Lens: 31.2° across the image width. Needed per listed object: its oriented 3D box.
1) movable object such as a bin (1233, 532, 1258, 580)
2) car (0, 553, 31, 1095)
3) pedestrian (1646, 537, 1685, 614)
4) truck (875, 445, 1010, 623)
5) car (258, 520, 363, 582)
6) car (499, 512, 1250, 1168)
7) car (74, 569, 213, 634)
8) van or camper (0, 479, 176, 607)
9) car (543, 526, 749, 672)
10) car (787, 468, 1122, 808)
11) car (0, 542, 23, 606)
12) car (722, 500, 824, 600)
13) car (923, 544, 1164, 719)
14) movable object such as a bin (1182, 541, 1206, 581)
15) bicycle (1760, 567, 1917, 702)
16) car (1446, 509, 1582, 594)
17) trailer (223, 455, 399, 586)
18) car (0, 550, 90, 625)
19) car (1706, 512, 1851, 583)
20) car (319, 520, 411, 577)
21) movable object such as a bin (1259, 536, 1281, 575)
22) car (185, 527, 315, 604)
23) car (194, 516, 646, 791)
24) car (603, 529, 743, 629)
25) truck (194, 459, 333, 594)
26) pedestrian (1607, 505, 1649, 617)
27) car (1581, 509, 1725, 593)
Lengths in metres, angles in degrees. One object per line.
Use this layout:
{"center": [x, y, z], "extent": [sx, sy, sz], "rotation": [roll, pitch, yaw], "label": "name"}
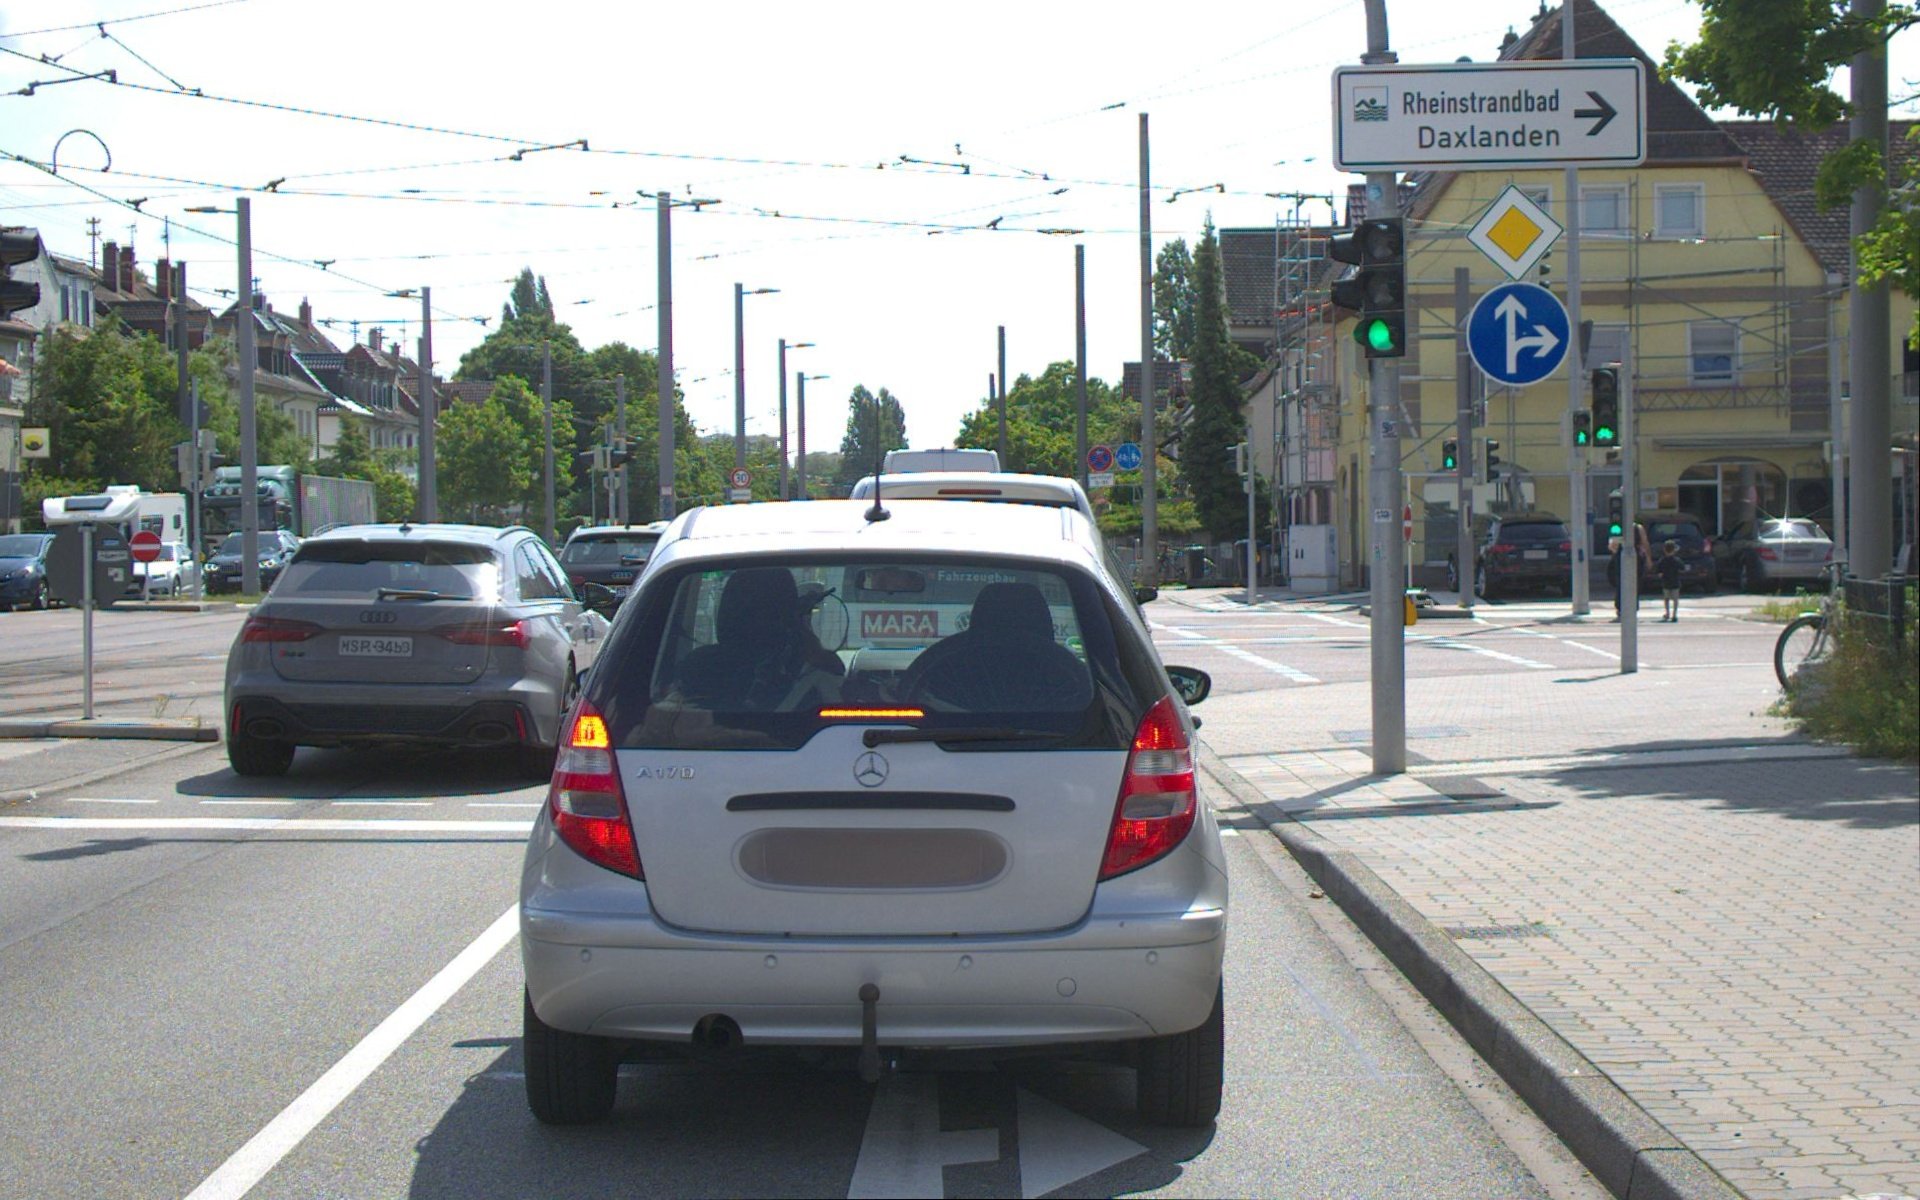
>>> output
{"center": [6.533, -1.011, 78.630], "extent": [0.511, 1.101, 0.855], "rotation": [0, 0, 0], "label": "movable object such as a bin"}
{"center": [-3.407, 0.602, 7.320], "extent": [1.731, 1.444, 4.123], "rotation": [1, 1, 0], "label": "car"}
{"center": [10.411, -0.363, 50.731], "extent": [0.488, 1.132, 0.389], "rotation": [1, 0, 4], "label": "pedestrian"}
{"center": [-0.330, -0.986, 52.553], "extent": [1.852, 2.543, 5.855], "rotation": [1, 1, -2], "label": "truck"}
{"center": [-17.902, -1.356, 94.966], "extent": [1.993, 1.547, 4.178], "rotation": [-4, 1, 0], "label": "car"}
{"center": [-0.284, 0.542, 10.034], "extent": [1.730, 1.511, 4.017], "rotation": [1, 1, -2], "label": "car"}
{"center": [-17.678, 0.012, 74.600], "extent": [1.993, 1.347, 4.178], "rotation": [1, 1, 0], "label": "car"}
{"center": [-21.177, -1.400, 83.618], "extent": [2.324, 2.919, 7.755], "rotation": [-1, 1, 0], "label": "van or camper"}
{"center": [-3.173, -0.034, 35.504], "extent": [1.852, 1.383, 4.515], "rotation": [1, 1, -2], "label": "car"}
{"center": [-0.117, 0.182, 20.024], "extent": [1.730, 1.756, 4.017], "rotation": [1, 1, -2], "label": "car"}
{"center": [-21.283, -0.557, 72.359], "extent": [1.684, 1.347, 4.345], "rotation": [1, 1, 3], "label": "car"}
{"center": [-3.582, -0.962, 66.347], "extent": [1.852, 1.837, 3.919], "rotation": [1, 1, -2], "label": "car"}
{"center": [0.788, 0.226, 29.747], "extent": [1.730, 1.399, 4.015], "rotation": [0, 1, 7], "label": "car"}
{"center": [5.335, -0.884, 78.411], "extent": [0.511, 0.915, 0.741], "rotation": [0, 0, 0], "label": "movable object such as a bin"}
{"center": [6.844, 0.262, 26.734], "extent": [0.463, 1.015, 1.752], "rotation": [1, 1, 40], "label": "bicycle"}
{"center": [10.899, -0.950, 67.874], "extent": [1.993, 1.590, 4.131], "rotation": [1, 1, 0], "label": "car"}
{"center": [-20.559, -2.614, 109.793], "extent": [2.599, 3.808, 12.837], "rotation": [-3, 2, 2], "label": "trailer"}
{"center": [-17.791, -0.257, 64.838], "extent": [1.684, 1.347, 4.178], "rotation": [1, 1, 0], "label": "car"}
{"center": [16.175, -1.027, 68.093], "extent": [1.867, 1.347, 4.131], "rotation": [1, 1, 0], "label": "car"}
{"center": [-17.644, -1.522, 102.142], "extent": [1.794, 1.631, 4.471], "rotation": [-1, 1, 2], "label": "car"}
{"center": [7.619, -1.096, 84.397], "extent": [0.468, 0.943, 0.558], "rotation": [-1, 0, 0], "label": "movable object such as a bin"}
{"center": [-17.640, -0.883, 85.671], "extent": [1.994, 1.770, 4.878], "rotation": [-2, 1, 2], "label": "car"}
{"center": [-3.168, 0.259, 21.102], "extent": [1.916, 1.472, 4.562], "rotation": [1, 1, 2], "label": "car"}
{"center": [-4.214, -0.320, 50.883], "extent": [1.852, 1.383, 3.919], "rotation": [1, 1, -2], "label": "car"}
{"center": [-20.813, -2.244, 103.006], "extent": [2.599, 3.808, 5.667], "rotation": [-3, 2, 2], "label": "truck"}
{"center": [9.847, -0.579, 50.675], "extent": [0.547, 1.638, 0.401], "rotation": [1, 0, 5], "label": "pedestrian"}
{"center": [13.678, -0.959, 68.047], "extent": [1.993, 1.590, 4.131], "rotation": [1, 1, 0], "label": "car"}
